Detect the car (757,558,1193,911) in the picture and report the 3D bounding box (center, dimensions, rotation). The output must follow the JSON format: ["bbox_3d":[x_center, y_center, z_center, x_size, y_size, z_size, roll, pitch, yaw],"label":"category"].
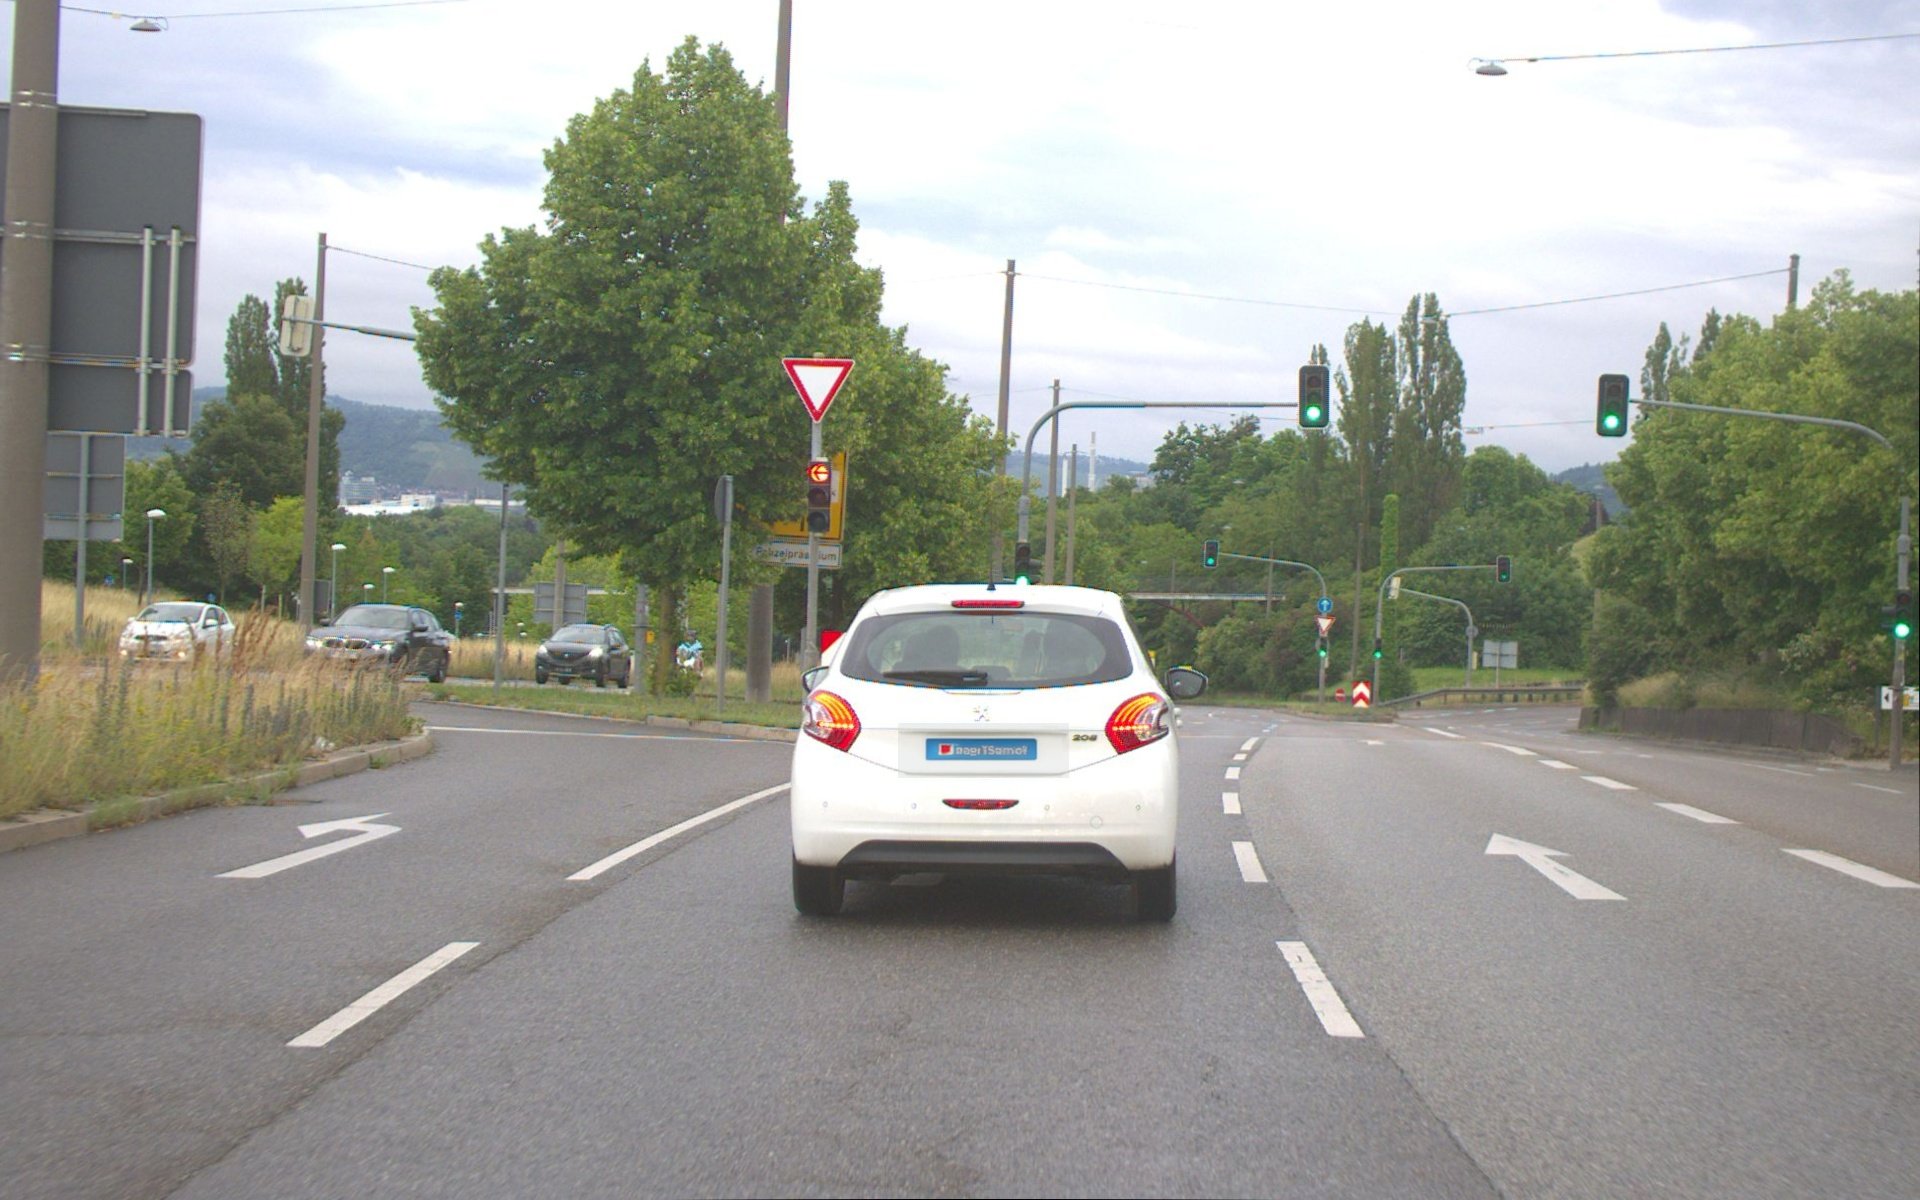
[{"bbox_3d":[0.184,0.583,16.117,1.709,1.435,3.689,1,-1,5],"label":"car"}]

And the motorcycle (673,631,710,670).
[{"bbox_3d":[-7.603,1.432,97.334,0.617,1.046,2.502,3,0,5],"label":"motorcycle"}]

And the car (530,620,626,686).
[{"bbox_3d":[-9.308,1.308,84.052,1.538,1.499,3.661,3,-2,6],"label":"car"}]

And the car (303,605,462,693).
[{"bbox_3d":[-10.721,0.931,64.097,1.751,1.499,4.462,3,-1,6],"label":"car"}]

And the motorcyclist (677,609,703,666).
[{"bbox_3d":[-7.617,1.054,96.940,0.582,1.591,0.643,2,0,5],"label":"motorcyclist"}]

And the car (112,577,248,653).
[{"bbox_3d":[-16.538,0.337,73.054,1.652,1.458,3.773,3,-2,6],"label":"car"}]

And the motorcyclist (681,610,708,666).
[{"bbox_3d":[-7.549,1.075,97.673,0.612,1.576,0.582,2,0,5],"label":"motorcyclist"}]
